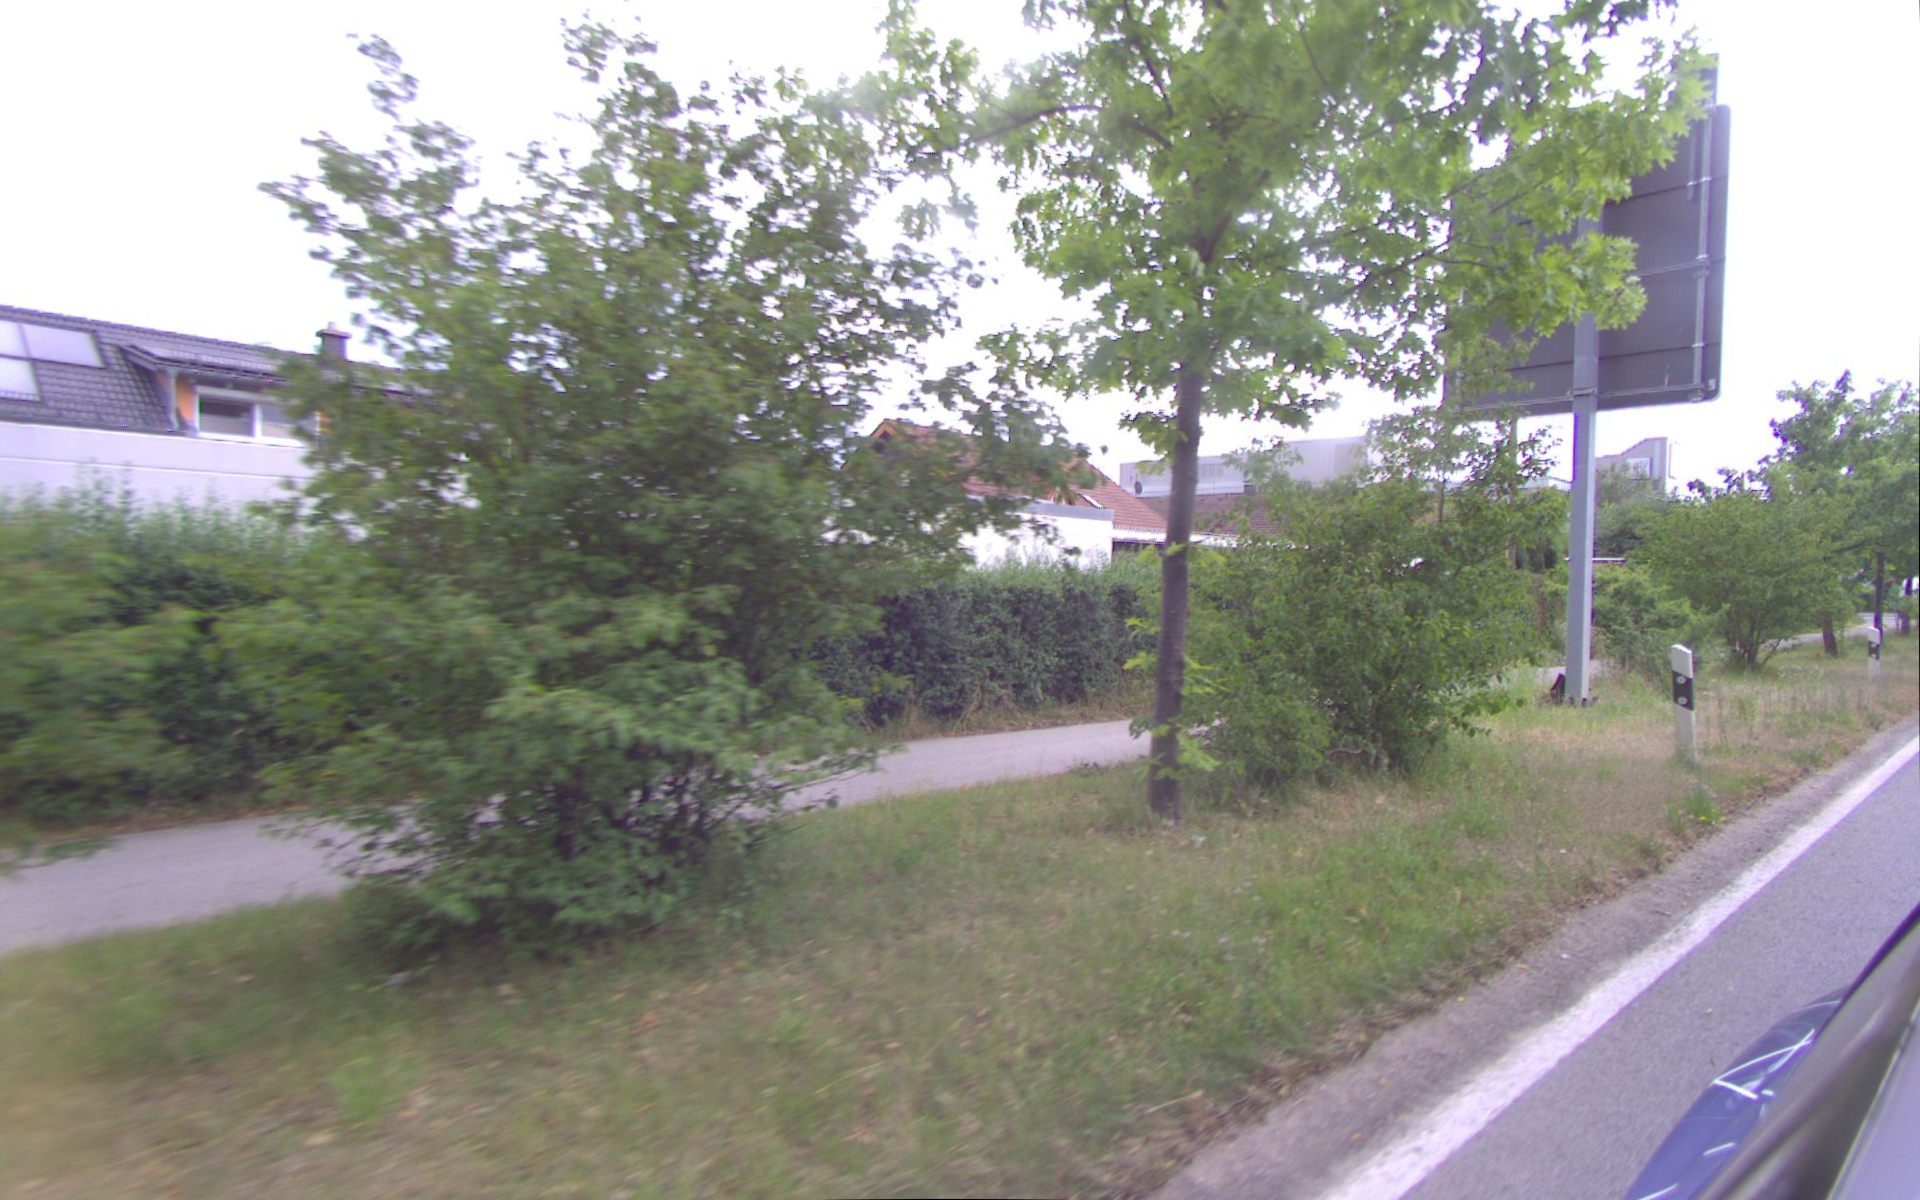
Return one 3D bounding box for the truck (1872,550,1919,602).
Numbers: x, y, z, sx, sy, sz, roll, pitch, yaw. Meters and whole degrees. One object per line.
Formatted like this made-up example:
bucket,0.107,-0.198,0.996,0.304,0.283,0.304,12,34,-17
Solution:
truck,67.179,-1.645,71.447,2.594,3.491,7.426,0,0,30
